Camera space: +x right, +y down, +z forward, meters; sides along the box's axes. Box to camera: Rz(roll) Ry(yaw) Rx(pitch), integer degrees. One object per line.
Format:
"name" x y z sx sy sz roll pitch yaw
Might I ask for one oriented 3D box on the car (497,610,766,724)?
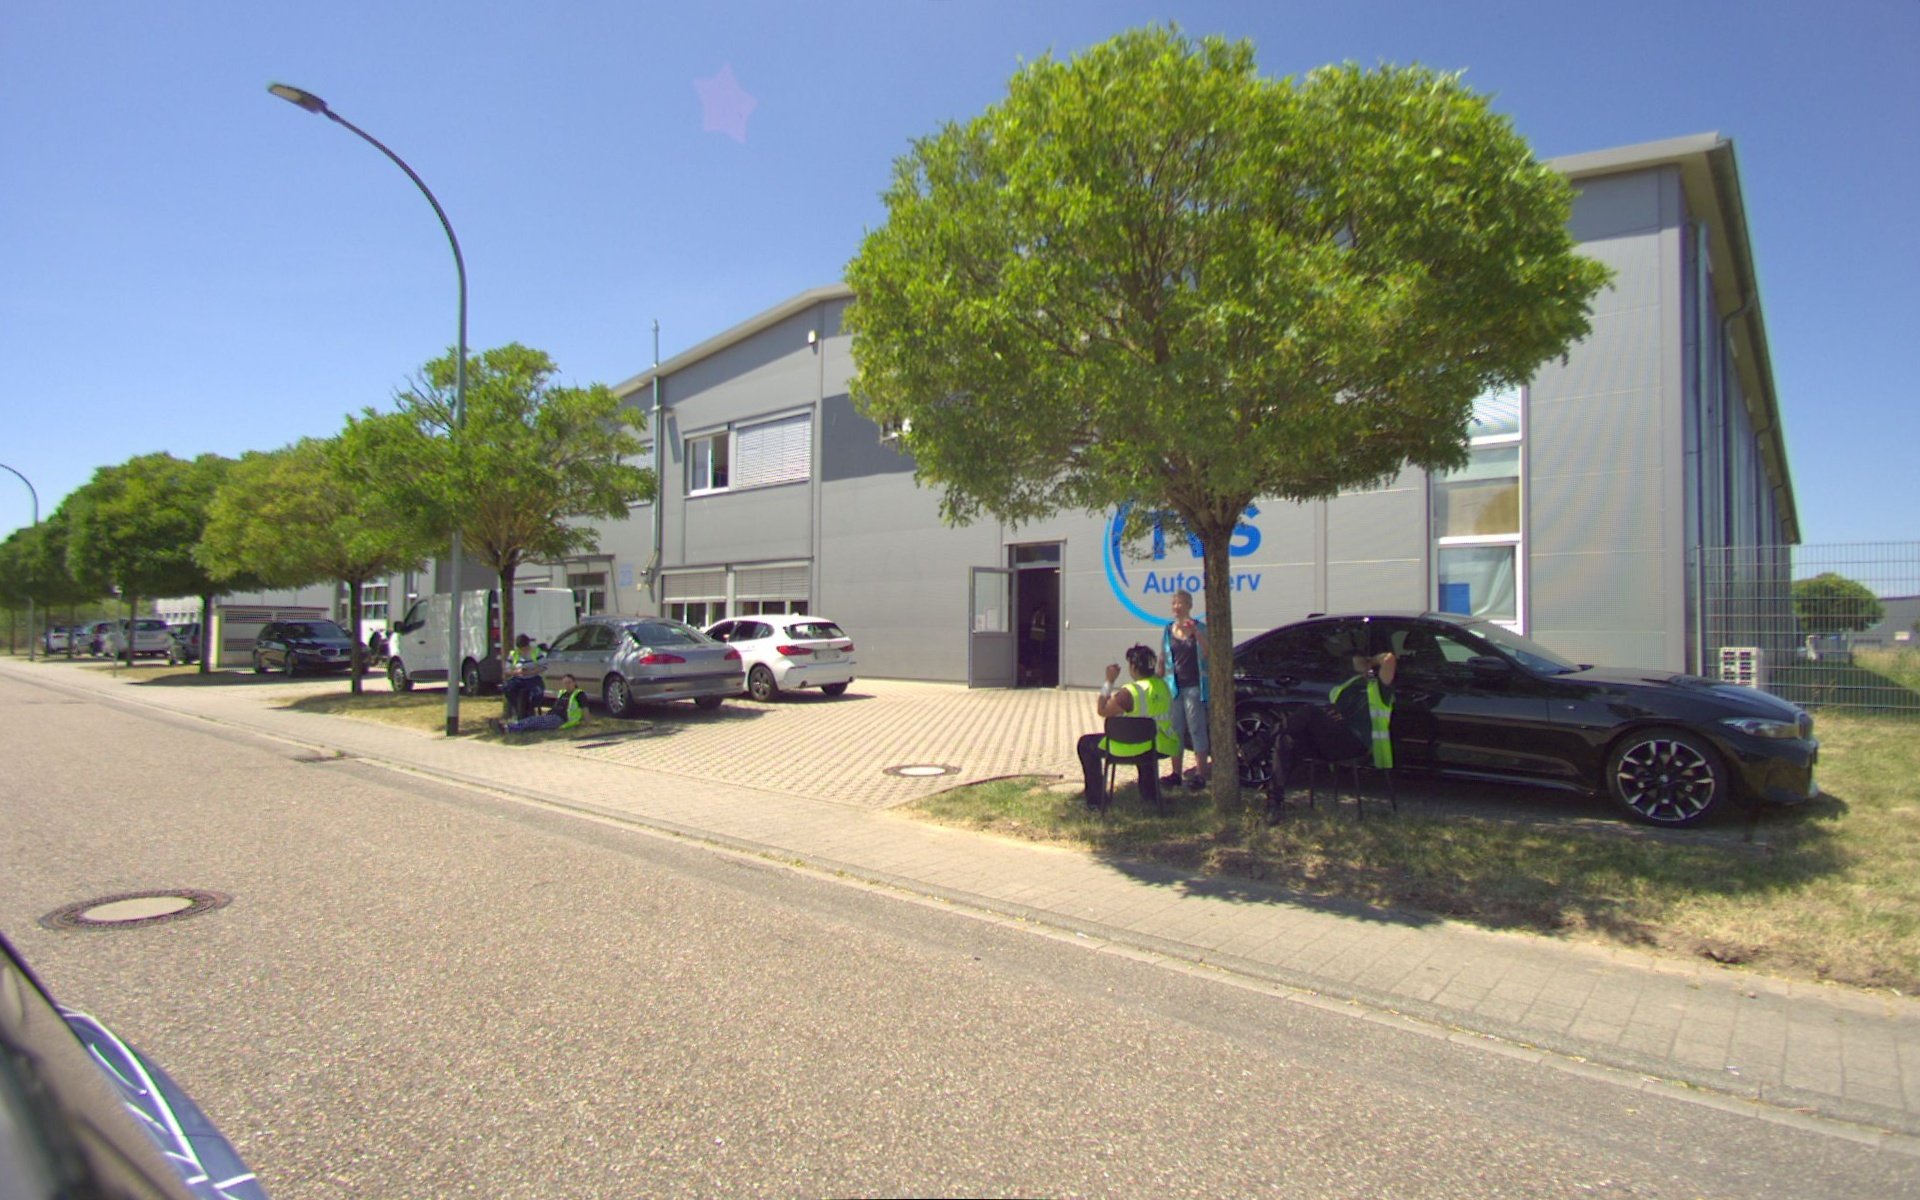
"car" -5.342 0.933 16.088 4.840 1.451 1.906 0 1 42

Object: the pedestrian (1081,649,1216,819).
"pedestrian" 1.380 0.936 7.385 0.647 1.107 0.742 -1 0 45

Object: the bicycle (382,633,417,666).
"bicycle" -17.163 1.512 30.990 1.695 0.985 0.347 -2 -1 40

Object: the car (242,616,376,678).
"car" -17.317 1.210 26.834 4.711 1.464 1.747 -2 0 41

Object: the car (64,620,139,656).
"car" -37.482 1.644 44.162 3.697 1.511 1.667 -2 -2 36

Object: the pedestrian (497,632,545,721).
"pedestrian" -6.123 1.048 14.113 0.472 1.159 0.556 -2 2 -39

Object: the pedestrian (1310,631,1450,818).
"pedestrian" 2.932 0.826 7.071 0.753 1.200 0.500 -1 0 43

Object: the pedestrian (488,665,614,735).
"pedestrian" -5.370 1.288 13.327 0.753 0.754 1.343 -1 0 43

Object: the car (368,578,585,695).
"car" -9.608 0.675 19.900 5.120 2.034 1.819 -2 0 39

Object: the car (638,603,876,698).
"car" -3.740 0.850 18.202 4.464 1.476 1.906 -2 0 42

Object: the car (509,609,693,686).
"car" -7.768 0.976 21.752 4.083 1.451 1.908 -2 0 39

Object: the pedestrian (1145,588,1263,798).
"pedestrian" 1.982 0.720 8.243 0.753 1.607 0.500 -1 0 43

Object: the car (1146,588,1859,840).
"car" 4.063 0.707 8.187 4.688 1.476 1.907 -2 0 40

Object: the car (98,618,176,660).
"car" -33.279 1.544 40.876 4.538 1.585 1.747 -2 -1 42

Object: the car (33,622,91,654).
"car" -45.716 1.914 51.495 4.327 1.511 1.804 -2 -1 43

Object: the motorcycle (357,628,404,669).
"motorcycle" -17.072 1.413 29.797 2.079 1.171 0.510 -2 -1 40

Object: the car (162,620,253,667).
"car" -25.278 1.414 33.958 3.839 1.464 1.747 -2 -1 42
